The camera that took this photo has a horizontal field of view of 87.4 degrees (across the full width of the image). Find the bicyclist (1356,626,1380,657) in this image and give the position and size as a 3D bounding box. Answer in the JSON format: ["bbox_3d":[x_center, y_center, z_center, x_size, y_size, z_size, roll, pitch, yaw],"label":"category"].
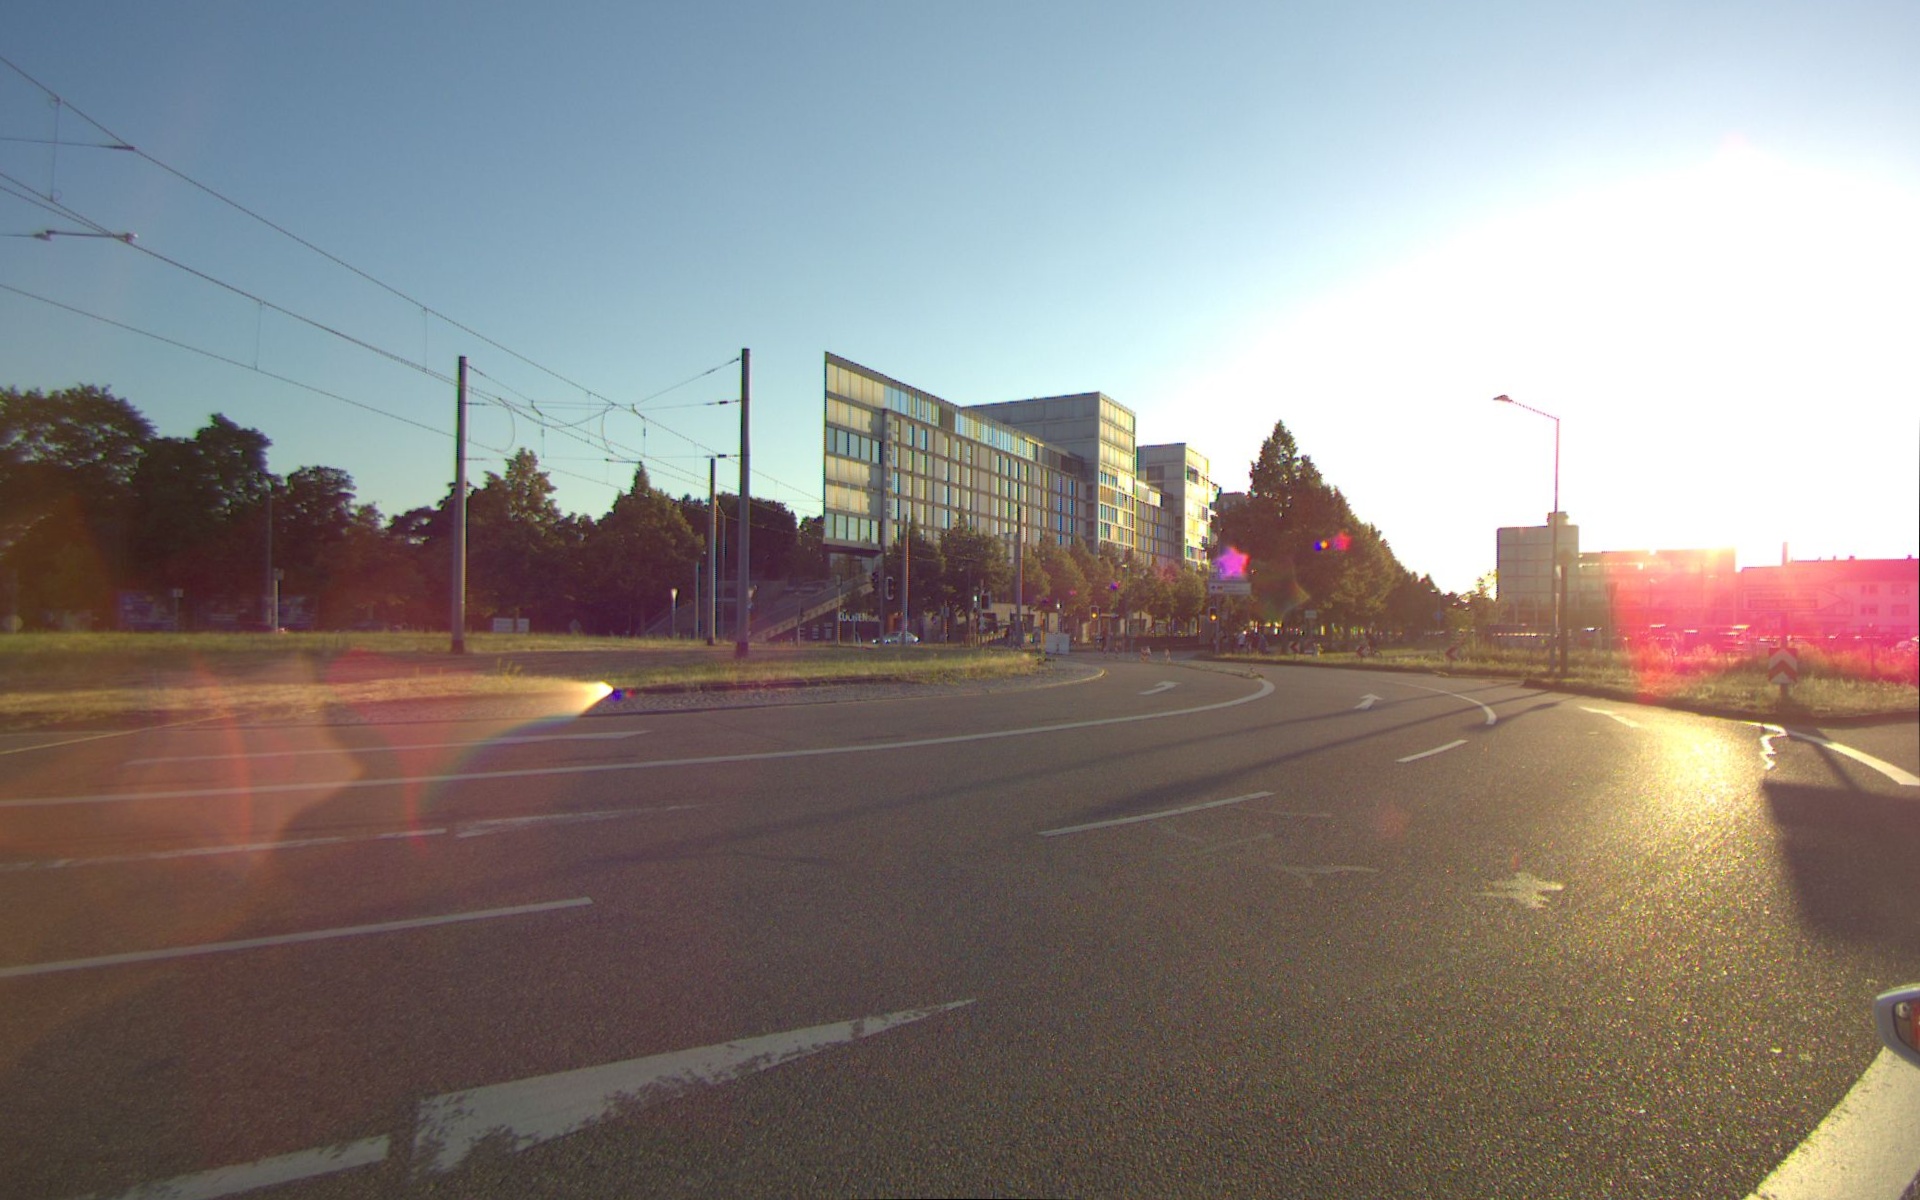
[{"bbox_3d":[21.977,2.209,54.134,0.749,1.634,0.966,2,-2,-42],"label":"bicyclist"}]

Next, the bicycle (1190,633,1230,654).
[{"bbox_3d":[15.365,2.664,61.742,0.749,1.182,2.378,2,-2,-44],"label":"bicycle"}]

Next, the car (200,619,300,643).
[{"bbox_3d":[-42.620,1.869,60.393,4.508,1.451,1.943,0,-1,-5],"label":"car"}]

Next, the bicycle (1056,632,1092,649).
[{"bbox_3d":[7.869,2.786,69.210,2.361,1.182,0.755,0,-1,17],"label":"bicycle"}]

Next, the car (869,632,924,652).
[{"bbox_3d":[-5.272,3.509,83.989,1.965,1.565,5.192,0,-2,31],"label":"car"}]

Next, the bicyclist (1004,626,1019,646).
[{"bbox_3d":[3.659,2.565,71.201,0.862,1.411,0.755,0,-1,20],"label":"bicyclist"}]

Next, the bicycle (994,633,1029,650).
[{"bbox_3d":[3.631,2.924,71.210,2.362,1.182,0.754,0,-1,20],"label":"bicycle"}]

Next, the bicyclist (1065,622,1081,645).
[{"bbox_3d":[7.807,2.333,69.270,0.959,1.545,0.755,0,-1,17],"label":"bicyclist"}]

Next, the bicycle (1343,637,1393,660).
[{"bbox_3d":[21.978,2.587,54.151,0.749,1.182,2.380,2,-2,-42],"label":"bicycle"}]

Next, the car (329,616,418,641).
[{"bbox_3d":[-35.445,1.709,60.764,4.235,1.451,1.945,0,-1,-1],"label":"car"}]

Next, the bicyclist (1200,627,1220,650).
[{"bbox_3d":[15.364,2.351,61.724,0.749,1.412,0.966,2,-2,-44],"label":"bicyclist"}]

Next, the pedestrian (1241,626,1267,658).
[{"bbox_3d":[17.481,2.508,59.737,0.971,1.851,1.149,2,-2,-39],"label":"pedestrian"}]

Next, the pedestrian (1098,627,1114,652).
[{"bbox_3d":[10.295,2.789,70.802,0.871,1.730,0.794,0,-1,23],"label":"pedestrian"}]
